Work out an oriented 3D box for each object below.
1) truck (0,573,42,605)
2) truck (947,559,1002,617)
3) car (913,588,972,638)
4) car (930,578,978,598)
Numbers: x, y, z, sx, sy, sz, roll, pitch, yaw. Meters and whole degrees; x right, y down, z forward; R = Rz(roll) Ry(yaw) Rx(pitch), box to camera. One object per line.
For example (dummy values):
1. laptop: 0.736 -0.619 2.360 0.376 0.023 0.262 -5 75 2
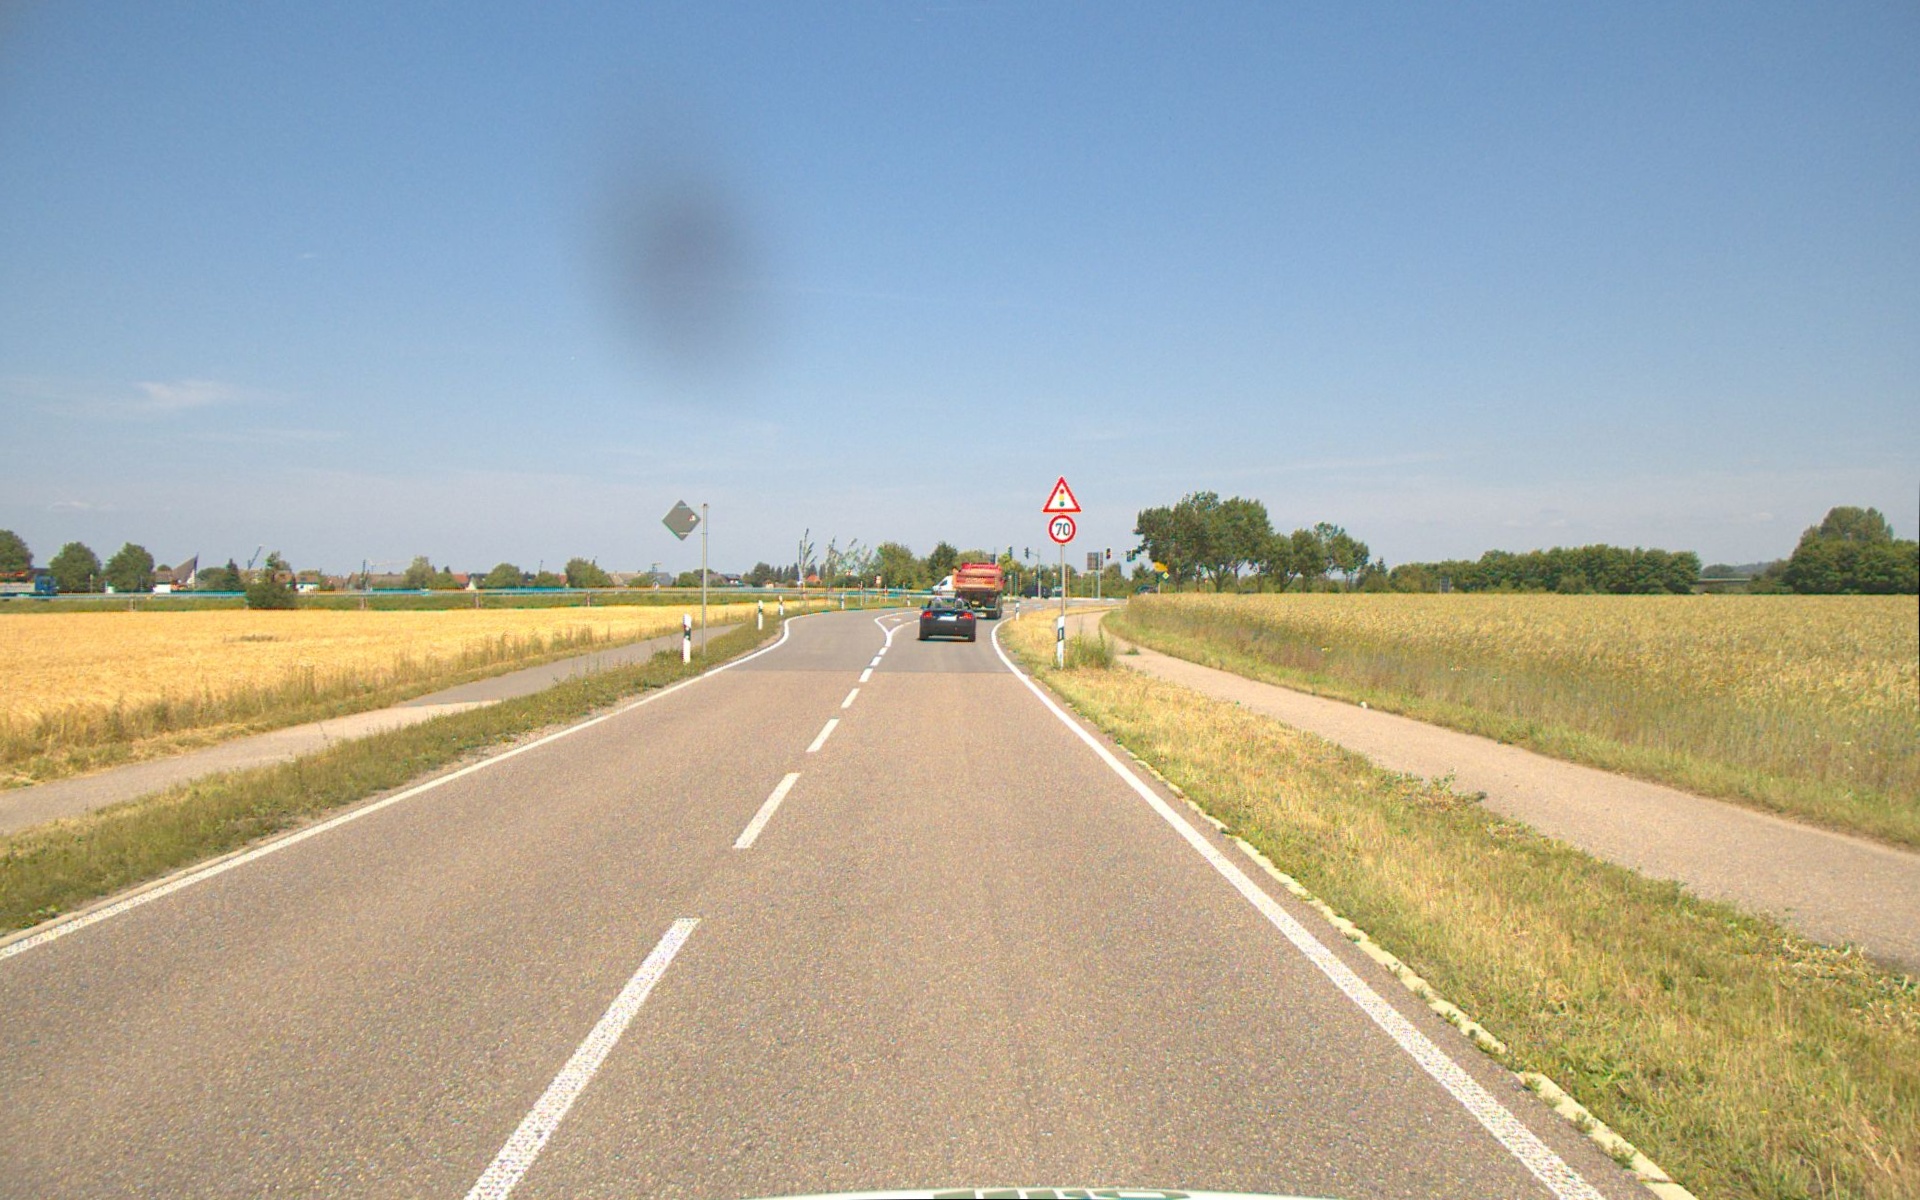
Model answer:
1. truck: -119.079 -1.409 203.810 9.918 3.859 2.614 1 1 -17
2. truck: 0.903 -0.602 93.736 2.657 3.106 8.167 1 -1 3
3. car: -0.556 0.401 51.023 1.712 1.400 3.678 2 -1 -1
4. car: -0.804 -1.510 213.000 5.791 2.464 2.250 1 1 11
